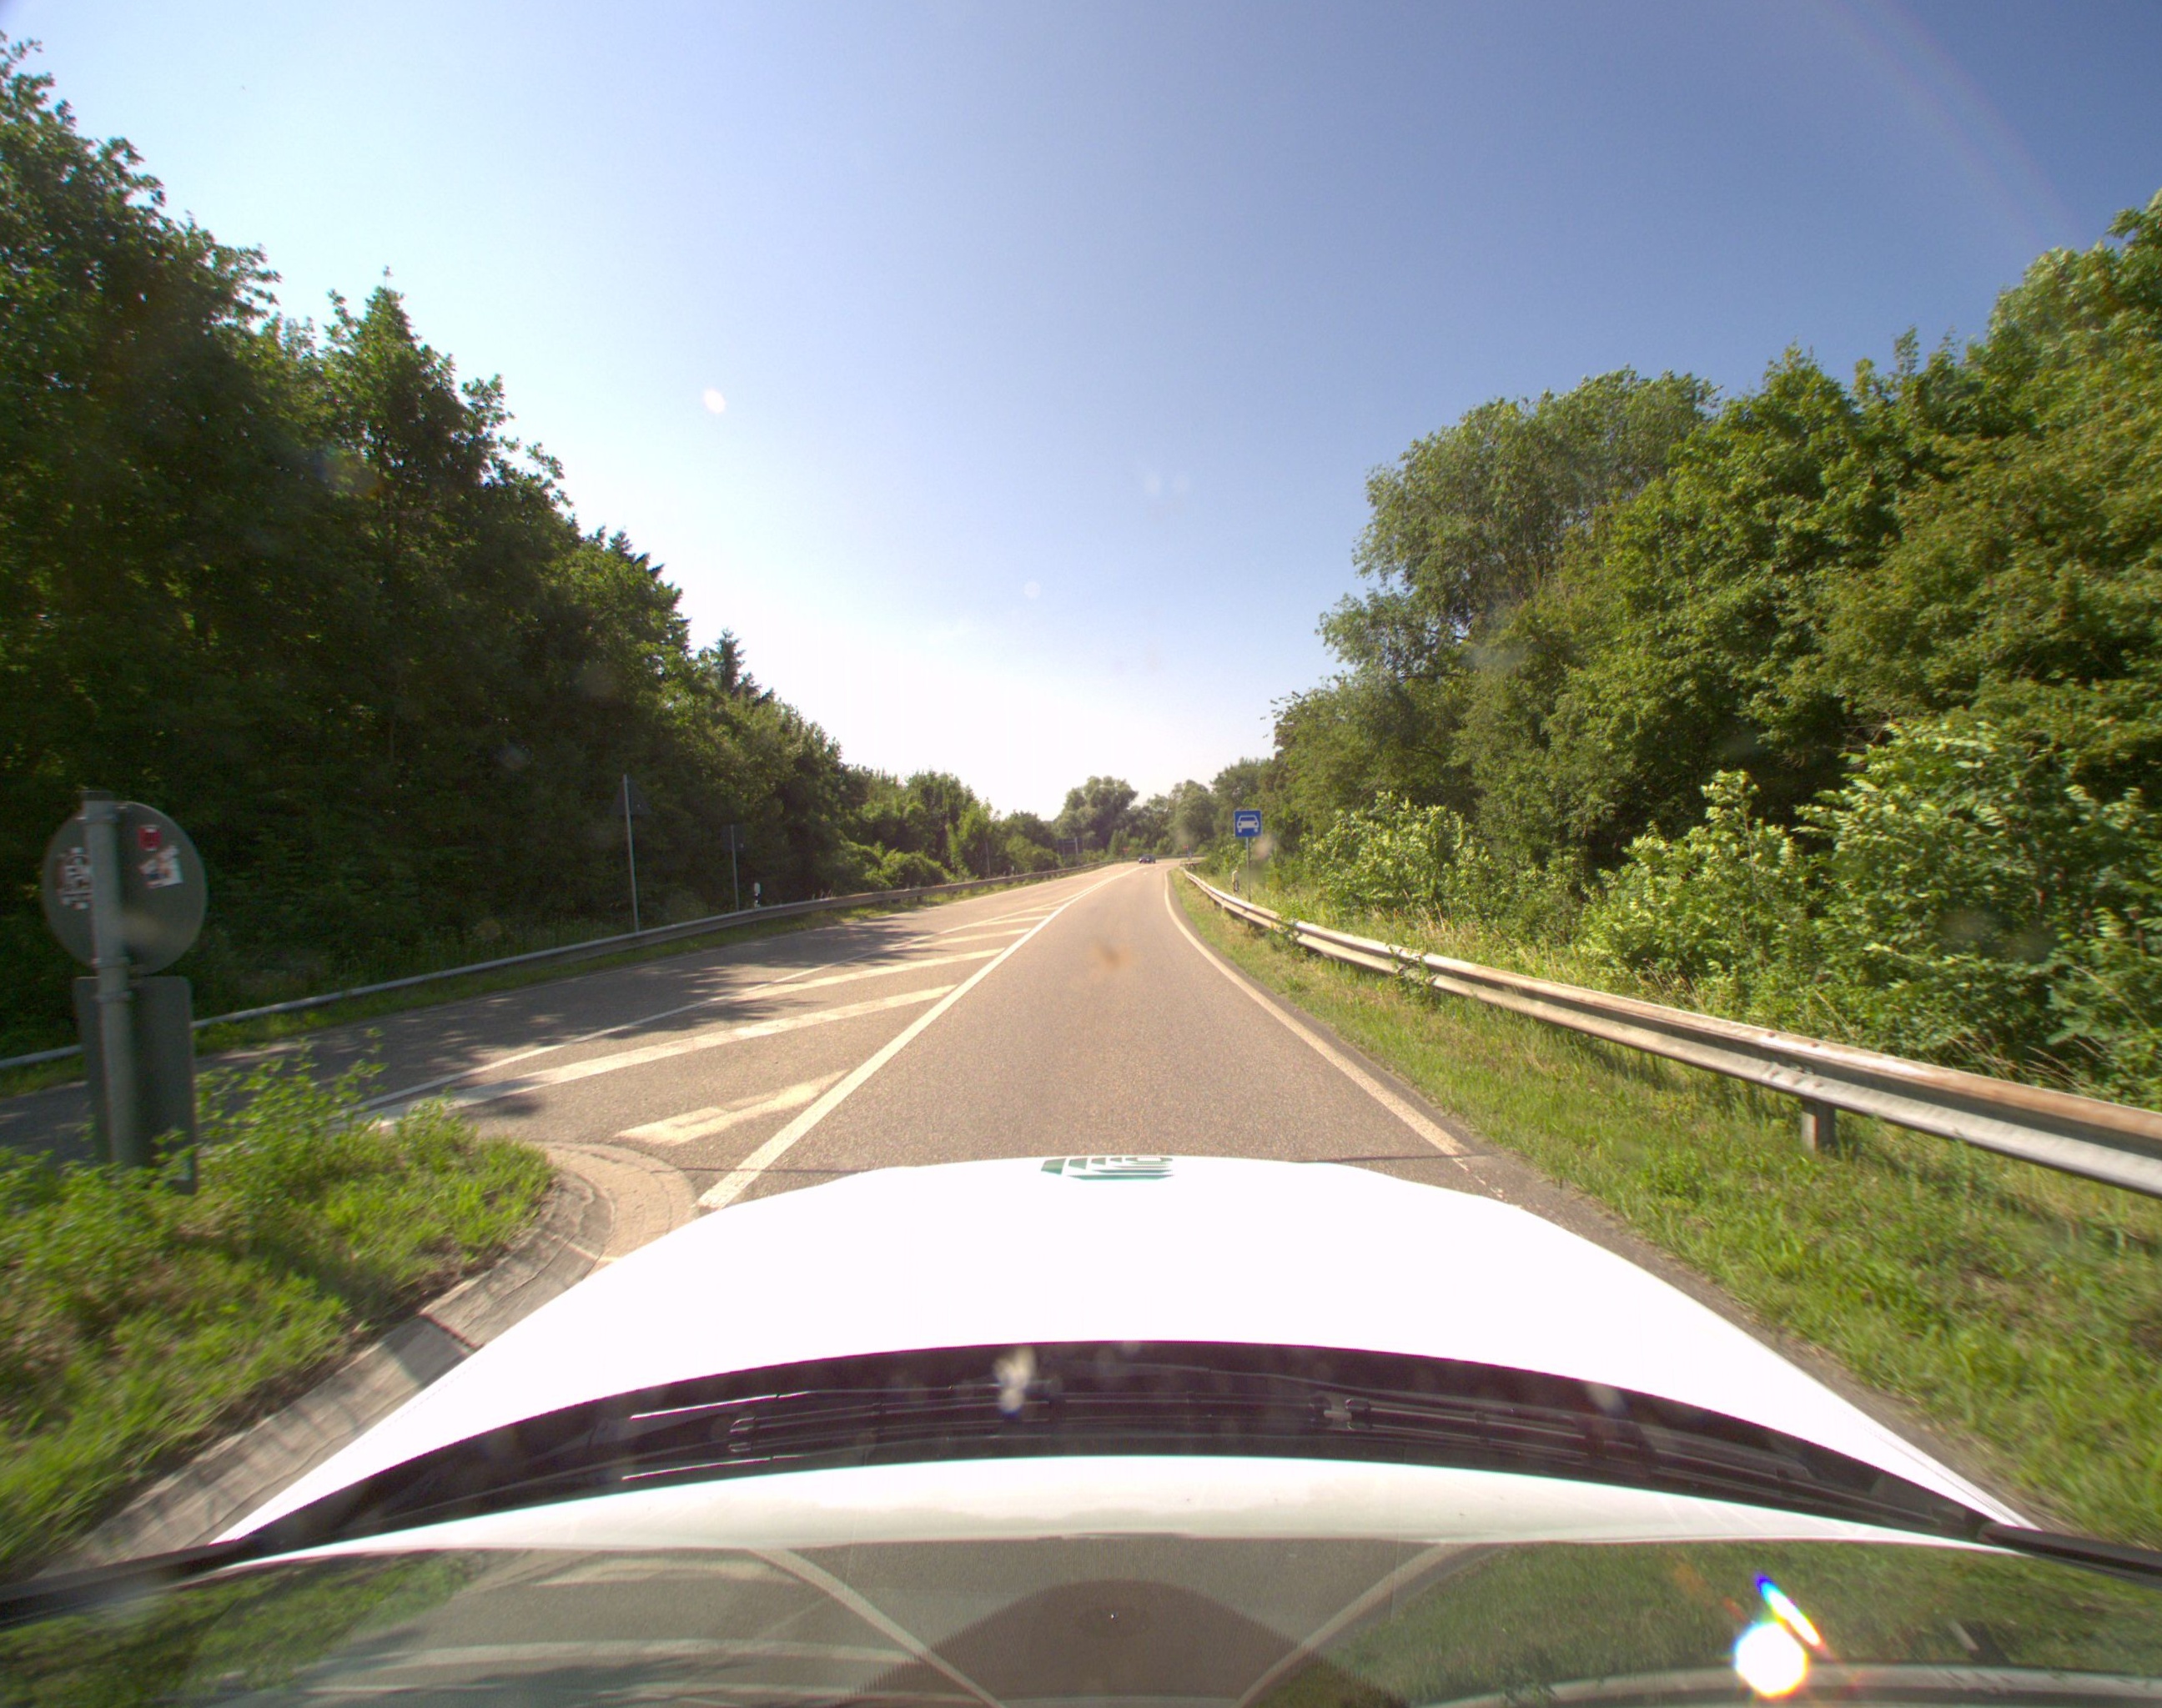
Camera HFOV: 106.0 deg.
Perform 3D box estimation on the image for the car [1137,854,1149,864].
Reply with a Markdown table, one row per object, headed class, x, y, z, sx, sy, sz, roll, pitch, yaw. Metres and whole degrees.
| class | x | y | z | sx | sy | sz | roll | pitch | yaw |
| --- | --- | --- | --- | --- | --- | --- | --- | --- | --- |
| car | 9.747 | 0.838 | 128.450 | 1.598 | 1.473 | 4.229 | -1 | -1 | 8 |
